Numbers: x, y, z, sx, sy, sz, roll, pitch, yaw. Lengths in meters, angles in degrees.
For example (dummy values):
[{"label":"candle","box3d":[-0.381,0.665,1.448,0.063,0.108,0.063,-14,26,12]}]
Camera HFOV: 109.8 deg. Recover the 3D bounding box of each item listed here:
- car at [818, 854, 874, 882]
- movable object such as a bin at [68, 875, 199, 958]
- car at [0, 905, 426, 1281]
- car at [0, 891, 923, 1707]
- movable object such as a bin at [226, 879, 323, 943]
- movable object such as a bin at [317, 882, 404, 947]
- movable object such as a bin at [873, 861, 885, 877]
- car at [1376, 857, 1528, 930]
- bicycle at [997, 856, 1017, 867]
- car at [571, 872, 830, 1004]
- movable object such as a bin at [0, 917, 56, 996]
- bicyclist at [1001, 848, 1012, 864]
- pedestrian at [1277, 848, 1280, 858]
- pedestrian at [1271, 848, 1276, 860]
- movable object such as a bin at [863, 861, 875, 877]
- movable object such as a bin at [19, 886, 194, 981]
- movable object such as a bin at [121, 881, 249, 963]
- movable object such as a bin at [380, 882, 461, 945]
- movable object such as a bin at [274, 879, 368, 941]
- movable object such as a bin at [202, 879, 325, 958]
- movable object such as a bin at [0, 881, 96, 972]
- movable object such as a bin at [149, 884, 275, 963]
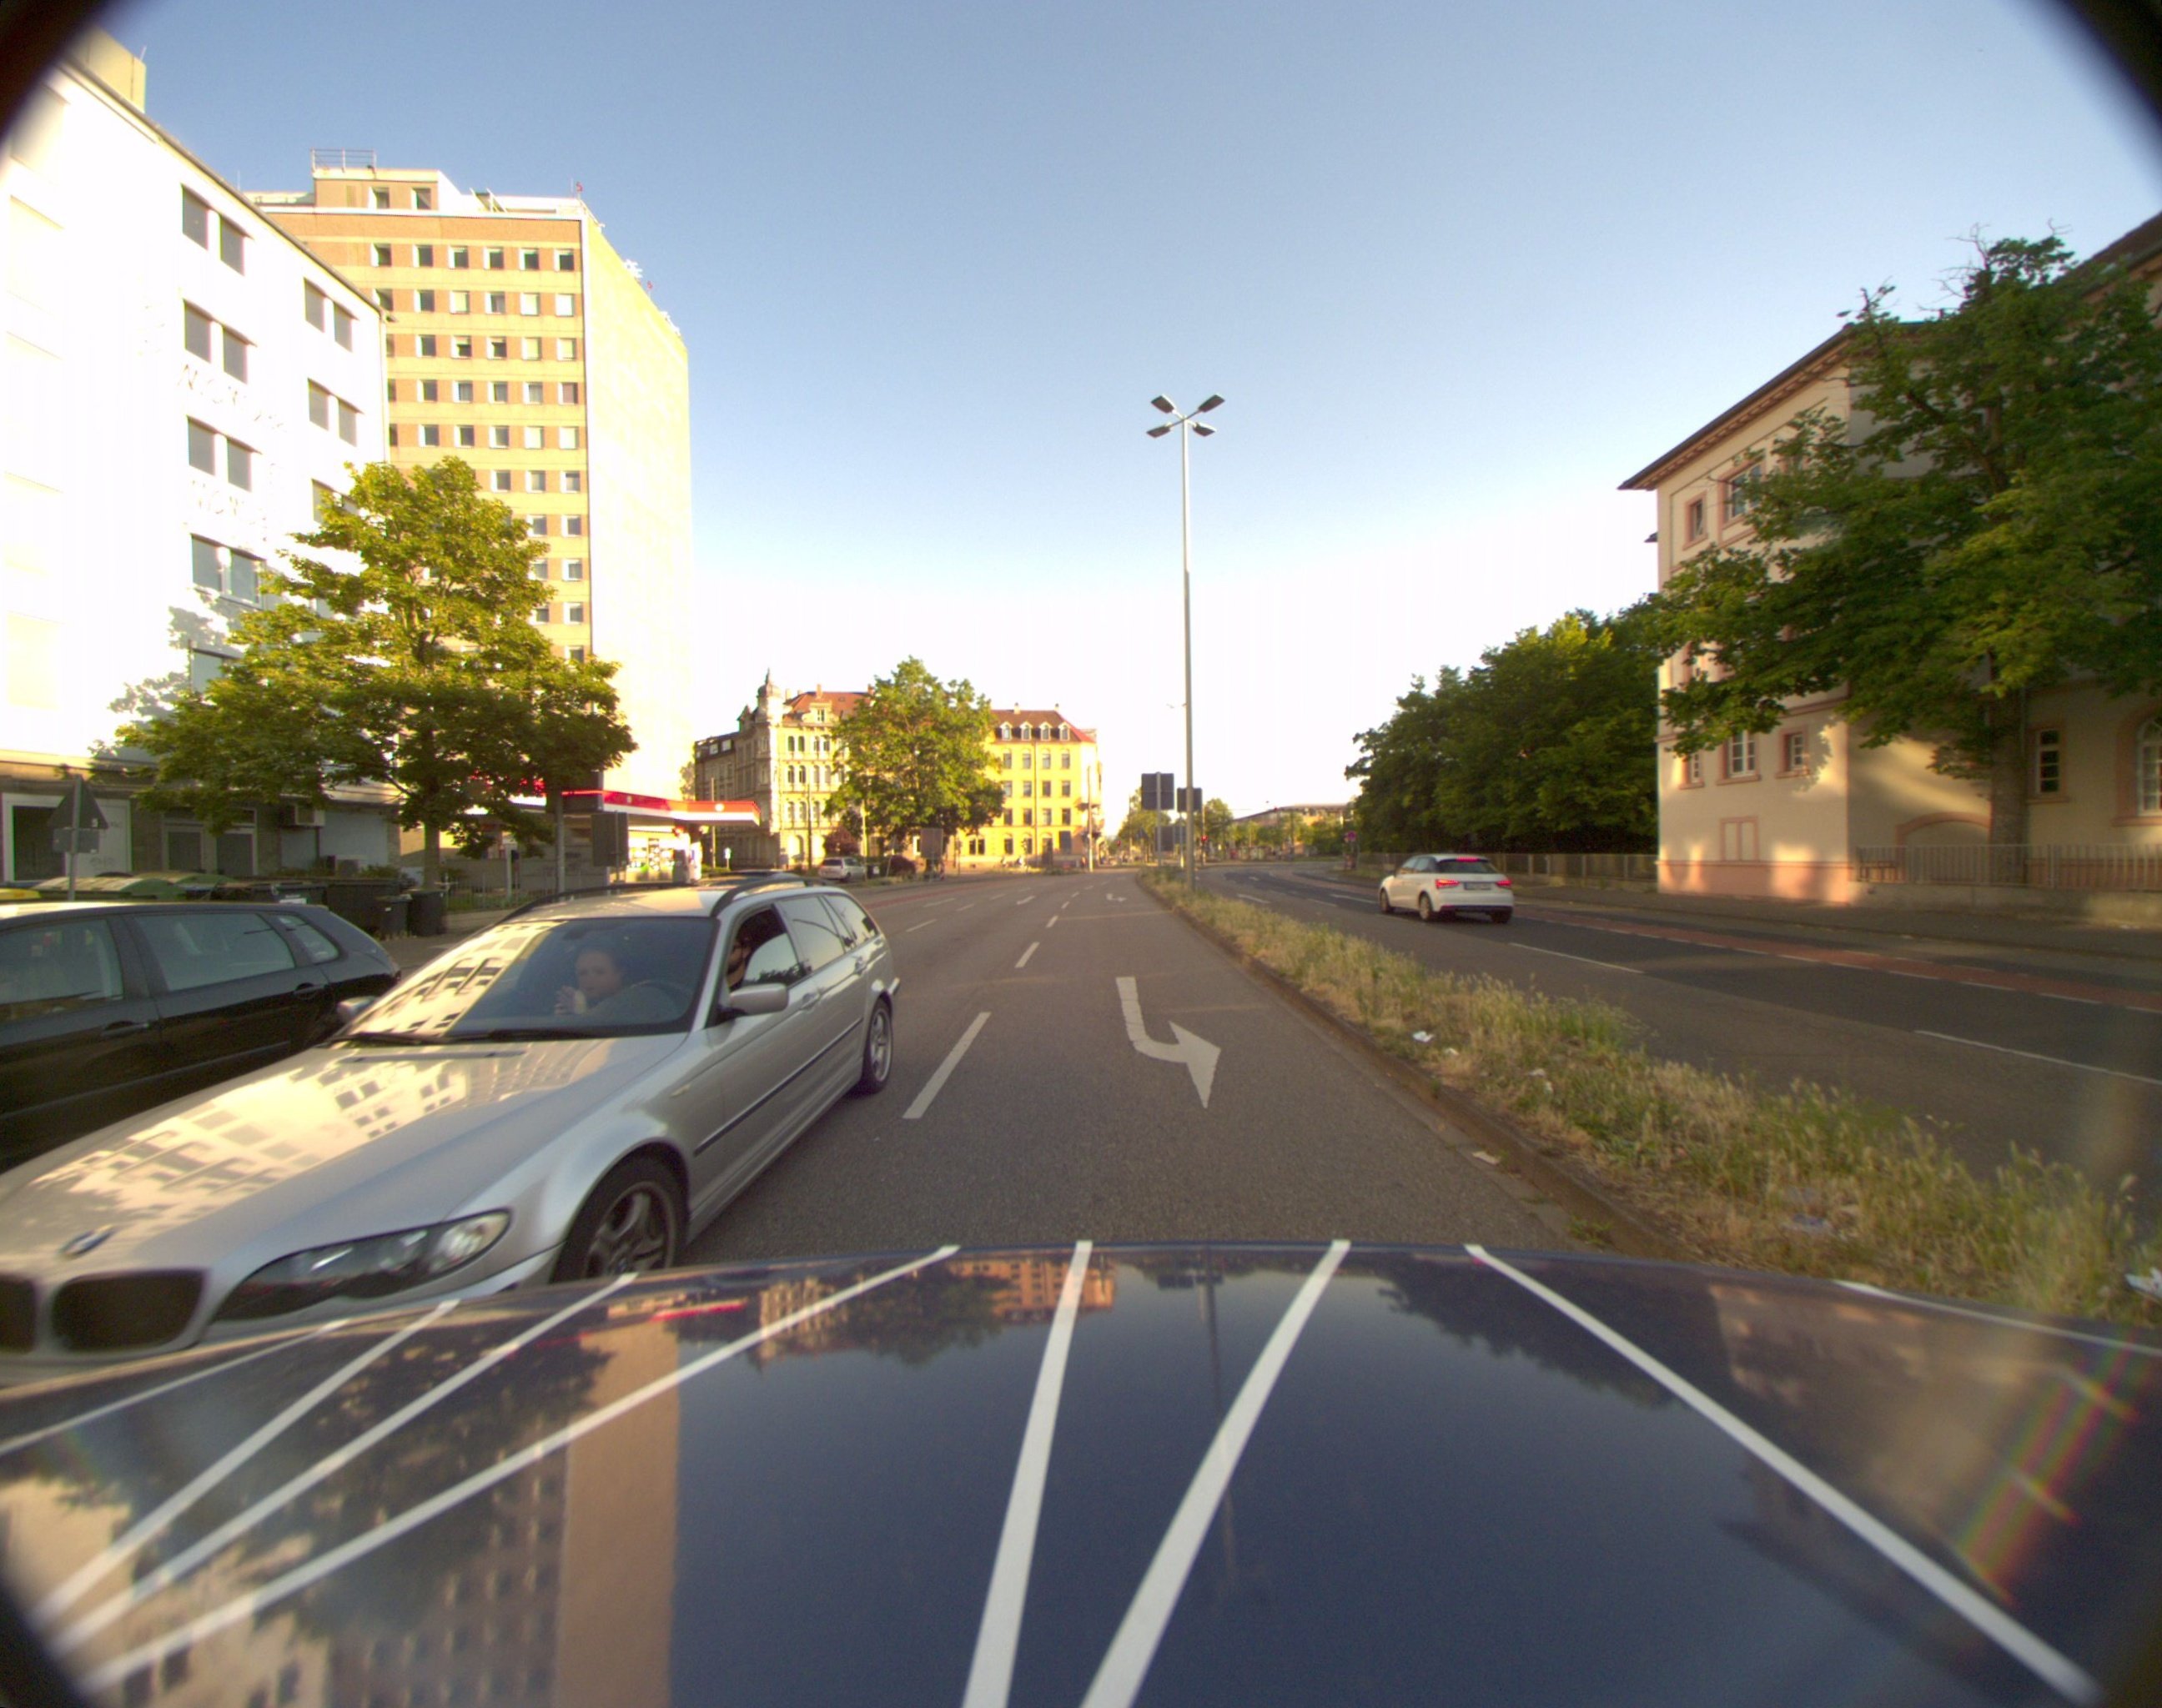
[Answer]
[{"label":"car","box3d":[-13.954,0.821,45.279,1.688,1.508,3.798,-1,1,8]},{"label":"movable object such as a bin","box3d":[-18.299,1.187,14.720,1.034,1.490,1.162,-1,1,-2]},{"label":"car","box3d":[-5.375,1.110,3.317,1.584,1.441,3.872,-2,0,1]},{"label":"car","box3d":[-2.179,1.031,3.674,1.674,1.410,4.441,-2,0,2]},{"label":"movable object such as a bin","box3d":[-17.929,1.247,16.919,0.956,1.320,1.098,-1,1,-2]},{"label":"movable object such as a bin","box3d":[-15.819,1.308,16.717,0.956,1.320,0.953,-1,1,-2]},{"label":"movable object such as a bin","box3d":[-13.148,0.976,49.557,0.544,1.013,0.688,-1,1,5]},{"label":"car","box3d":[7.966,0.779,16.697,1.695,1.379,3.687,0,0,3]},{"label":"bicycle","box3d":[-7.581,0.742,77.871,1.927,1.053,0.451,-1,1,-7]},{"label":"car","box3d":[-5.319,1.078,11.311,1.731,1.441,4.045,-2,0,1]},{"label":"movable object such as a bin","box3d":[-15.512,1.460,10.749,0.853,1.039,0.819,-1,1,-4]},{"label":"bicyclist","box3d":[-7.652,0.238,77.906,1.065,1.639,0.732,-1,1,-7]},{"label":"pedestrian","box3d":[33.318,-0.112,128.088,0.467,1.695,0.419,-1,1,1]},{"label":"pedestrian","box3d":[32.566,-0.039,128.495,0.556,2.002,0.664,-1,1,1]},{"label":"movable object such as a bin","box3d":[-13.869,0.991,49.768,0.544,1.013,0.688,-1,1,5]},{"label":"movable object such as a bin","box3d":[-15.899,1.264,12.456,1.351,1.415,1.105,-1,1,-4]},{"label":"movable object such as a bin","box3d":[-17.122,1.274,14.567,1.034,1.440,1.162,-1,1,-2]},{"label":"movable object such as a bin","box3d":[-14.879,1.329,17.140,0.956,1.320,0.953,-1,1,-2]},{"label":"movable object such as a bin","box3d":[-16.932,1.234,16.963,0.956,1.276,1.098,-1,1,-2]},{"label":"movable object such as a bin","box3d":[-14.900,1.151,13.893,0.956,1.320,1.162,-1,1,-2]},{"label":"movable object such as a bin","box3d":[-18.689,1.259,13.408,1.034,1.490,1.162,-1,1,-2]},{"label":"movable object such as a bin","box3d":[-16.038,1.259,14.070,0.956,1.320,1.162,-1,1,-2]}]
